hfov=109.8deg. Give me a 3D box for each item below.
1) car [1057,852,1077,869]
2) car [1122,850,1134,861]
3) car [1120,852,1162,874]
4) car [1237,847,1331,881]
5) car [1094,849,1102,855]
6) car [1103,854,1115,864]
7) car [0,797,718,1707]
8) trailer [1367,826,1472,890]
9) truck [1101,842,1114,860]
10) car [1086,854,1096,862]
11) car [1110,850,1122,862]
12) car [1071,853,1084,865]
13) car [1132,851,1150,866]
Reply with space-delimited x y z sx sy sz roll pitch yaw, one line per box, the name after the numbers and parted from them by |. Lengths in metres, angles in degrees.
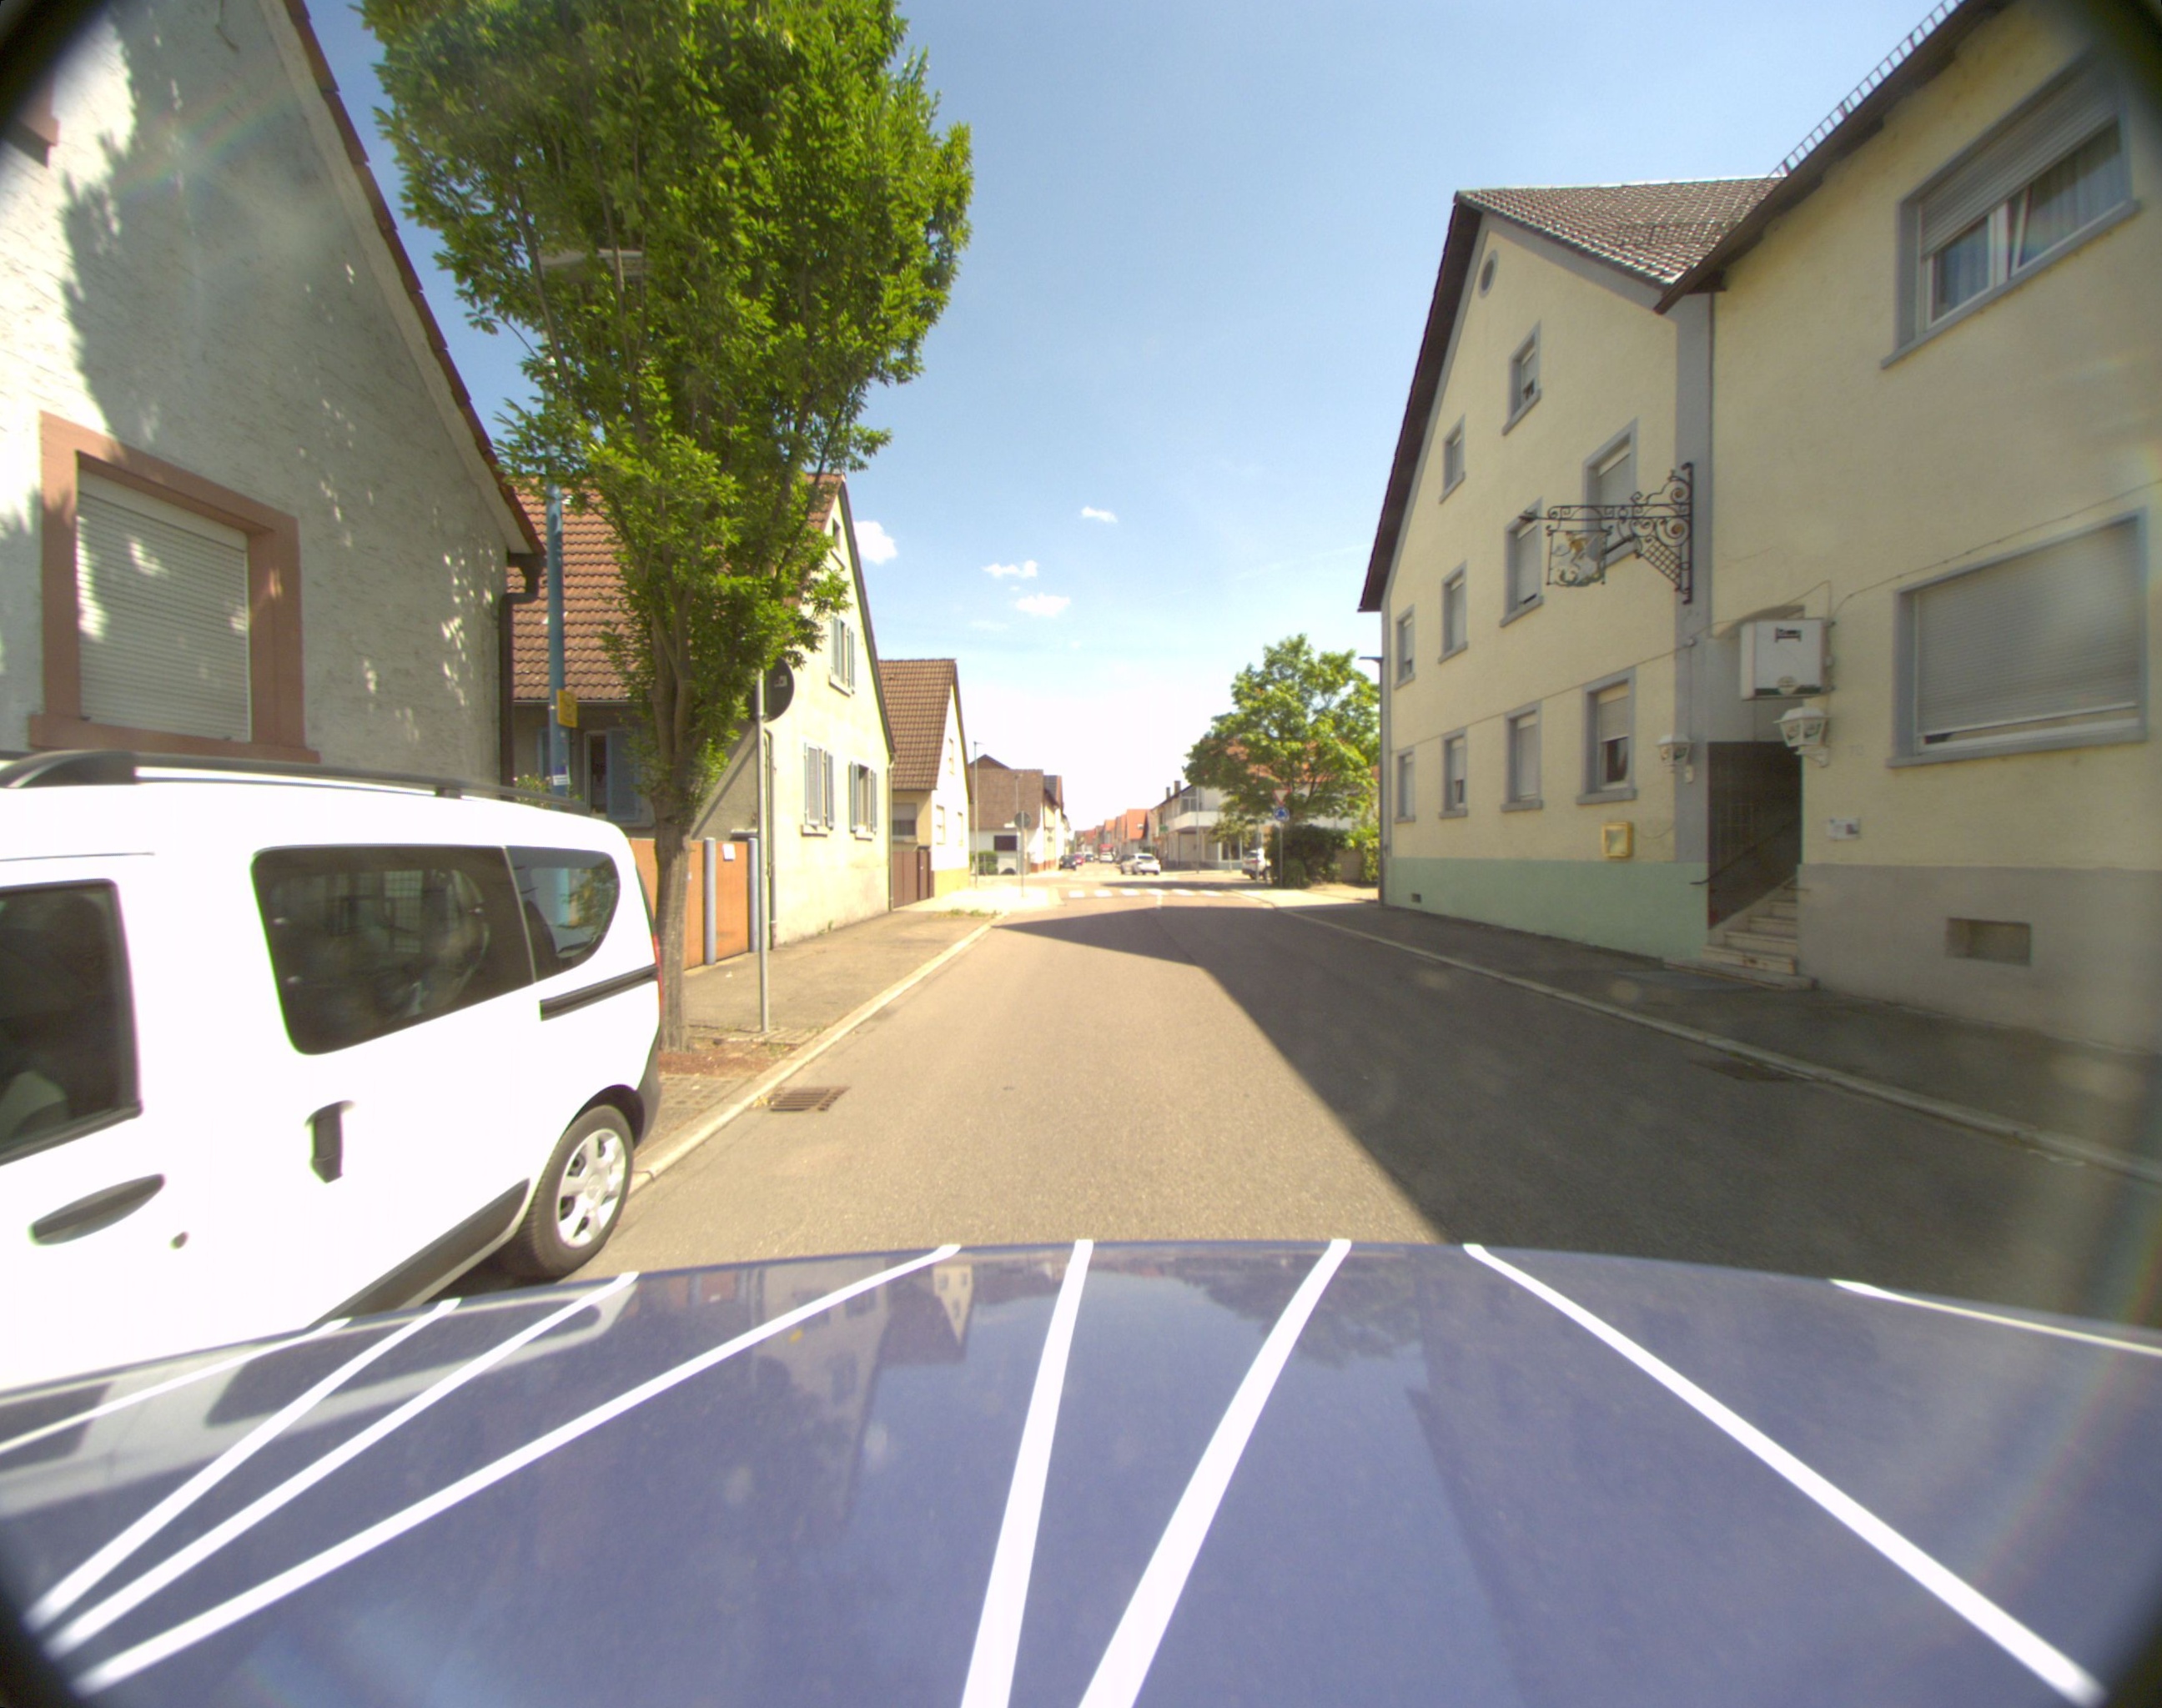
-1.268 0.622 69.655 1.598 1.385 4.170 -1 -2 1 | car
6.731 0.210 108.976 1.726 1.385 4.170 -1 -2 2 | car
4.034 0.607 51.400 1.600 1.385 4.163 -2 1 -13 | car
10.735 0.513 40.263 4.449 1.609 1.806 -2 1 -15 | car
4.718 -0.532 207.076 1.727 1.385 4.166 -2 1 -4 | car
4.330 0.844 116.315 1.726 1.385 4.170 -1 -2 2 | car
-2.684 0.791 1.464 1.693 1.832 4.763 2 0 -1 | car
13.131 0.141 29.777 2.179 2.266 4.225 -2 1 0 | trailer
5.280 -0.715 150.962 1.999 3.420 7.074 -2 1 -1 | truck
1.768 0.660 132.104 1.598 1.385 4.168 -2 1 0 | car
6.182 0.383 135.258 1.727 2.097 4.167 -2 0 -1 | car
-0.423 0.655 98.013 1.598 1.385 4.170 -1 -2 1 | car
6.259 0.487 80.138 1.726 1.385 4.170 -1 -2 2 | car
